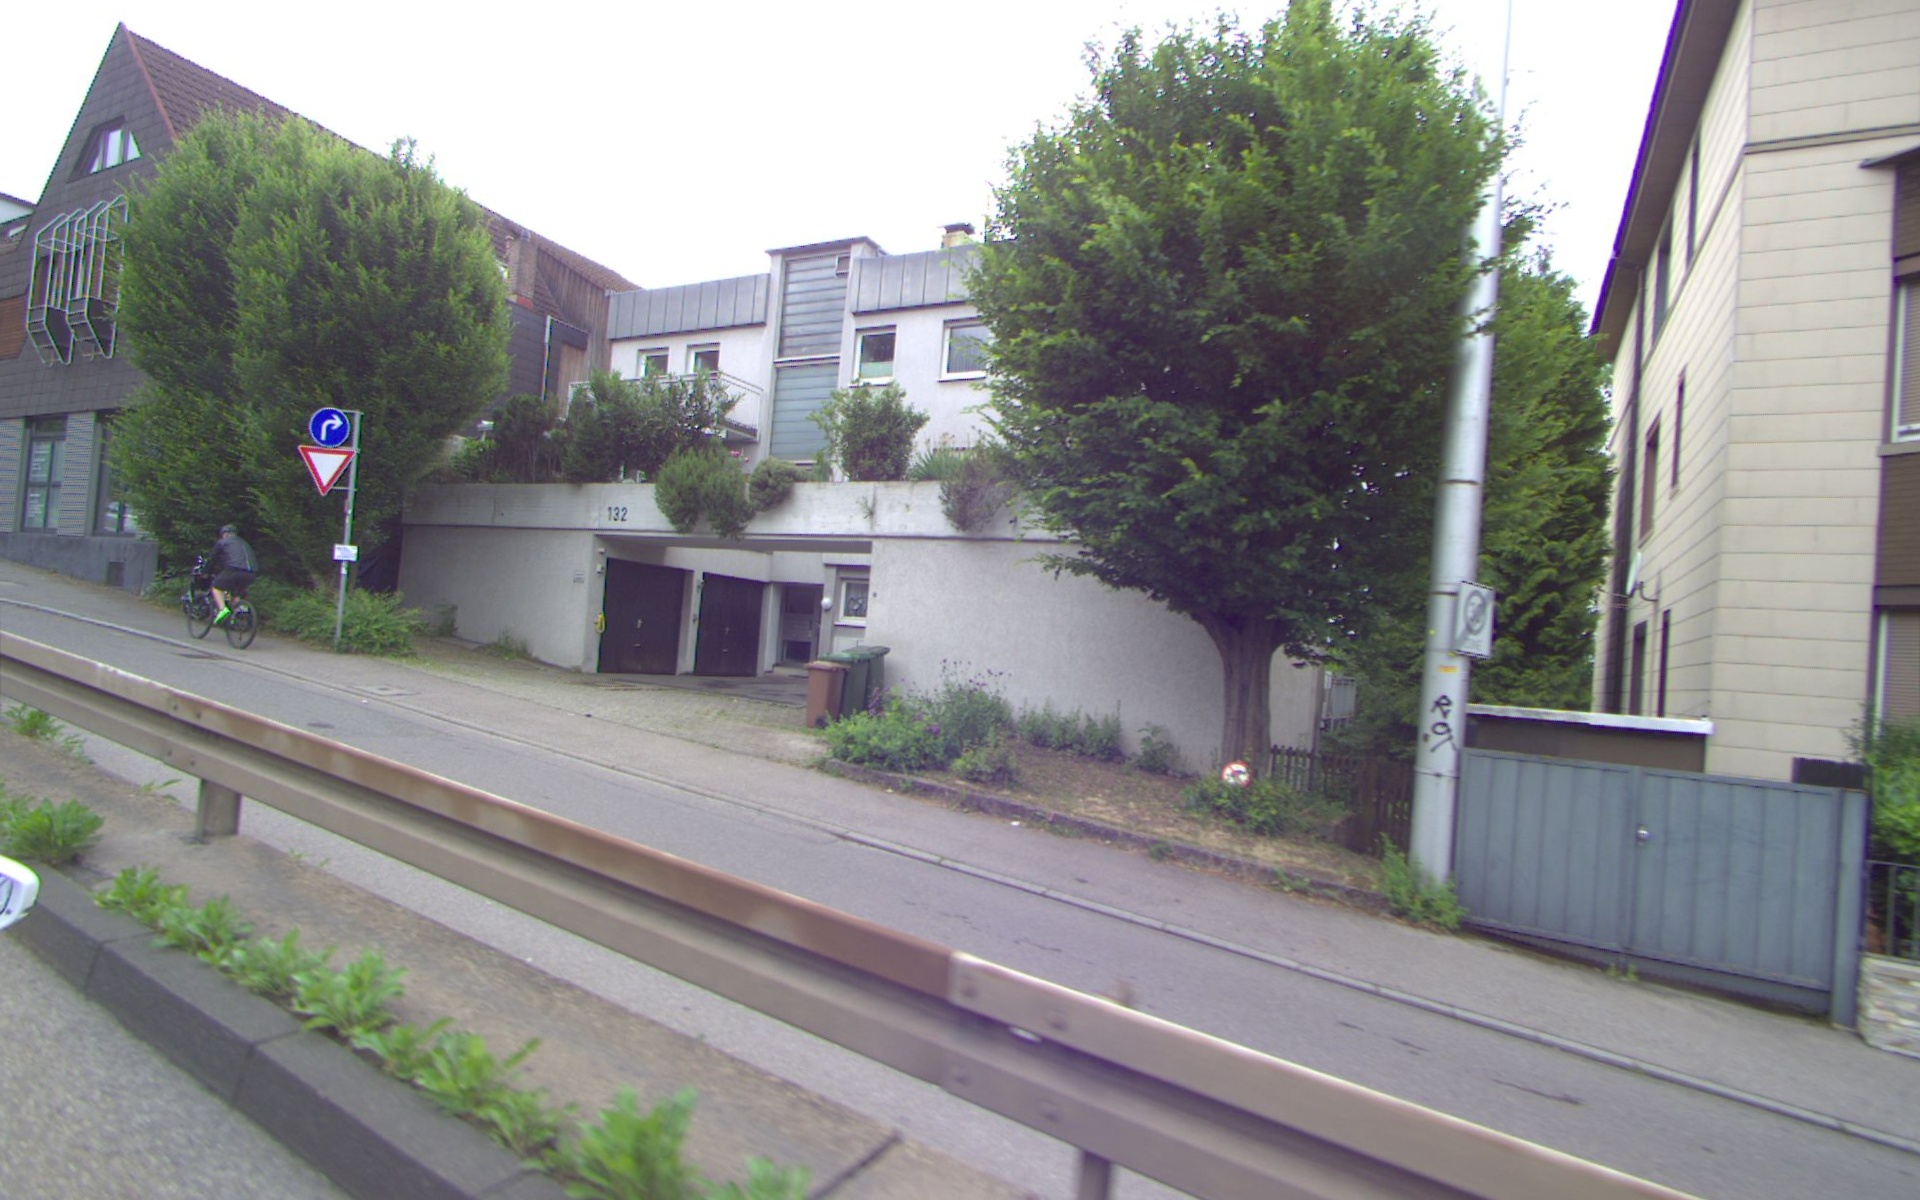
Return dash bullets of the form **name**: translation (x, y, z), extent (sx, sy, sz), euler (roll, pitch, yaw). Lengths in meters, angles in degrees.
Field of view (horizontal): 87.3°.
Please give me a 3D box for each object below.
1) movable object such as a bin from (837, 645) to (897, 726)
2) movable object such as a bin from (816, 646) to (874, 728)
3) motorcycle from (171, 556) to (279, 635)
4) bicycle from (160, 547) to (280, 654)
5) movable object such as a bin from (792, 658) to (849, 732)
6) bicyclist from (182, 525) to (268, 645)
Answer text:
- **movable object such as a bin**: translation (-1.415, 1.284, 15.271), extent (0.644, 1.096, 0.541), euler (8, 6, 30)
- **movable object such as a bin**: translation (-1.679, 1.260, 14.691), extent (0.551, 1.070, 0.541), euler (8, 6, 30)
- **motorcycle**: translation (-12.343, -0.087, 16.872), extent (1.934, 1.064, 0.696), euler (8, 0, 31)
- **bicycle**: translation (-11.198, 0.002, 15.195), extent (2.003, 1.278, 0.572), euler (10, 2, 29)
- **movable object such as a bin**: translation (-1.977, 1.336, 14.231), extent (0.551, 0.952, 0.452), euler (8, 3, 30)
- **bicyclist**: translation (-11.055, -0.223, 15.133), extent (0.931, 1.652, 0.539), euler (8, -1, 30)
